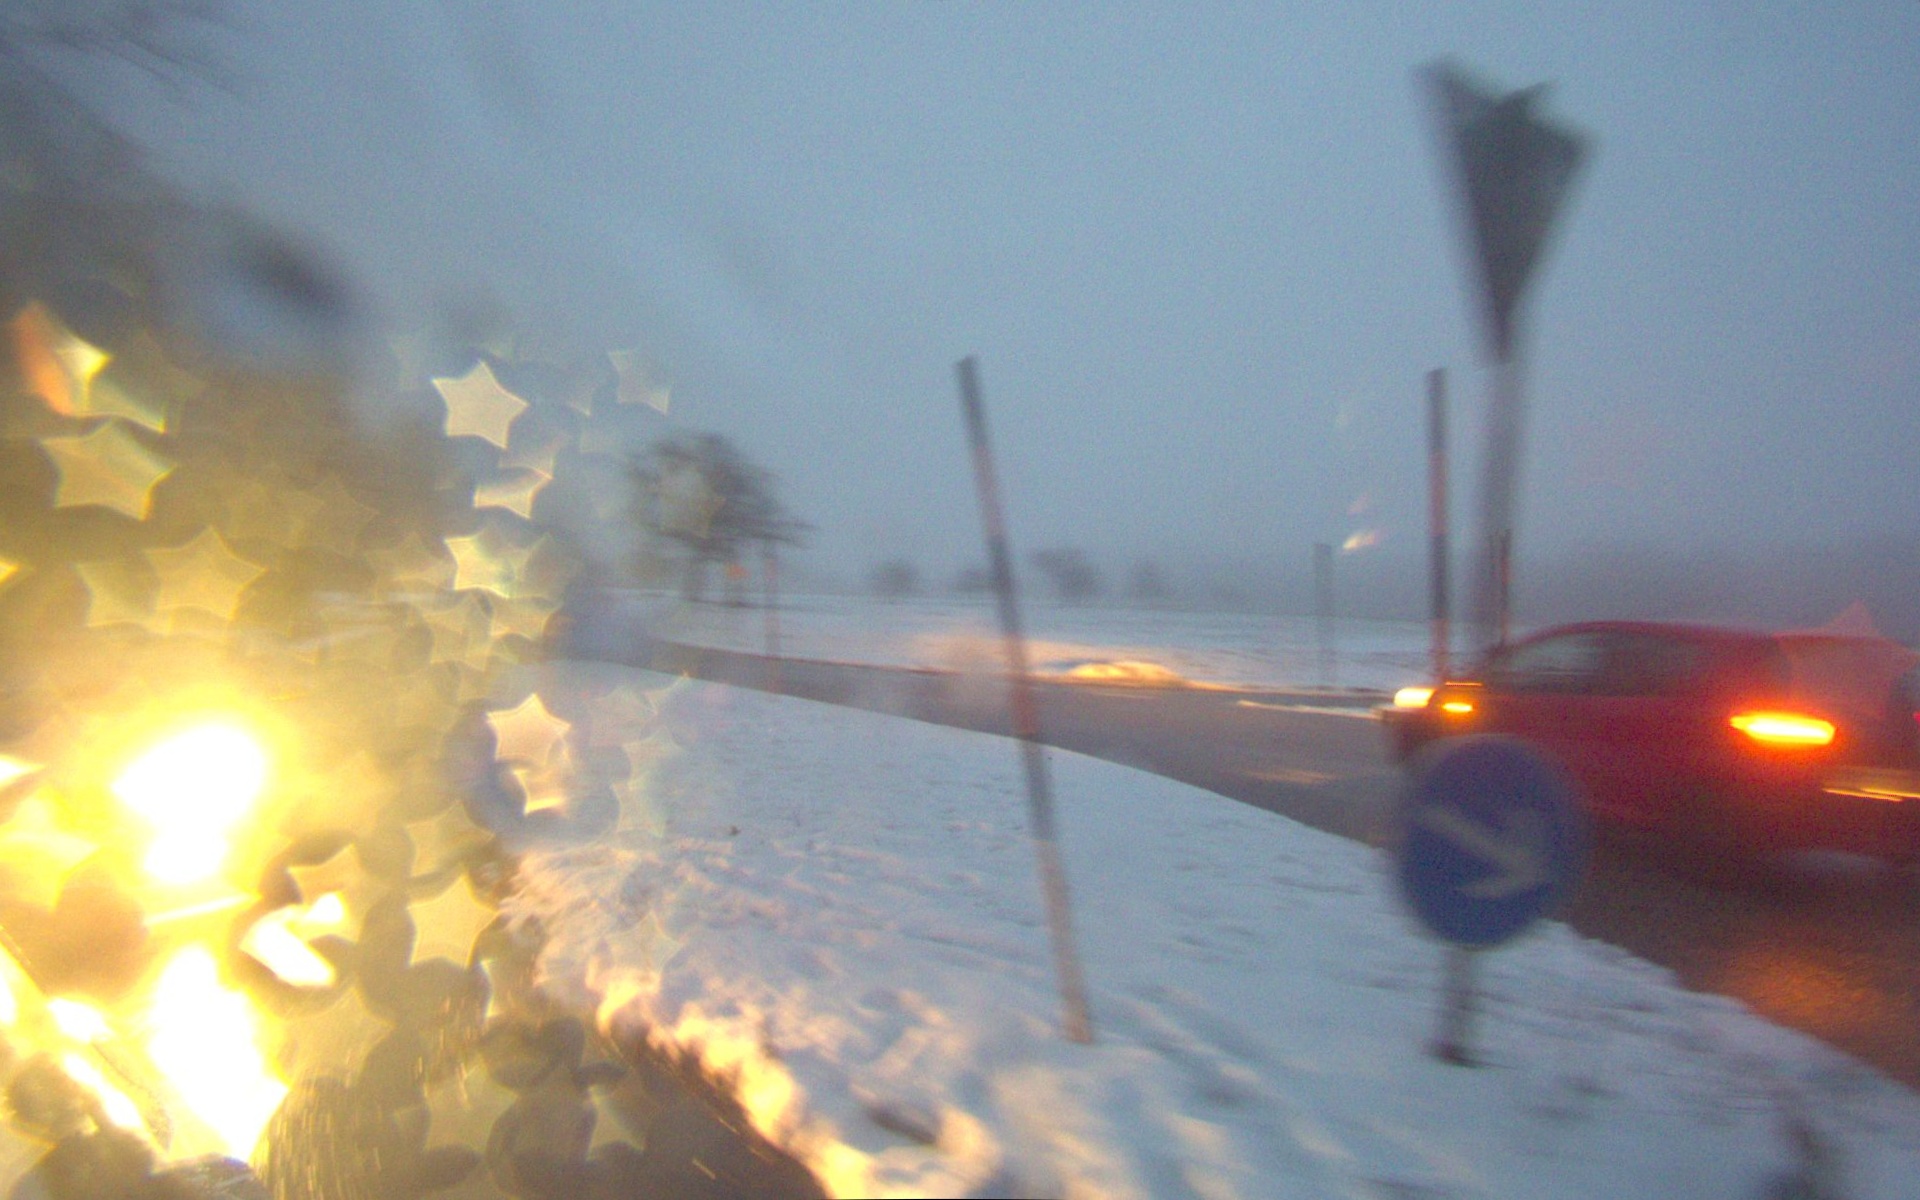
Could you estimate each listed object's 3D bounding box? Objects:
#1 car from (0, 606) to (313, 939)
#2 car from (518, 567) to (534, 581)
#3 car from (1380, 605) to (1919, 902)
[{"bbox_3d":[-5.031,0.771,6.120,1.697,1.445,3.688,0,0,-30],"label":"car"},{"bbox_3d":[-58.908,-3.529,137.274,1.965,1.820,4.013,0,1,-23],"label":"car"},{"bbox_3d":[4.585,0.766,6.826,1.551,1.463,3.421,0,0,-12],"label":"car"}]
